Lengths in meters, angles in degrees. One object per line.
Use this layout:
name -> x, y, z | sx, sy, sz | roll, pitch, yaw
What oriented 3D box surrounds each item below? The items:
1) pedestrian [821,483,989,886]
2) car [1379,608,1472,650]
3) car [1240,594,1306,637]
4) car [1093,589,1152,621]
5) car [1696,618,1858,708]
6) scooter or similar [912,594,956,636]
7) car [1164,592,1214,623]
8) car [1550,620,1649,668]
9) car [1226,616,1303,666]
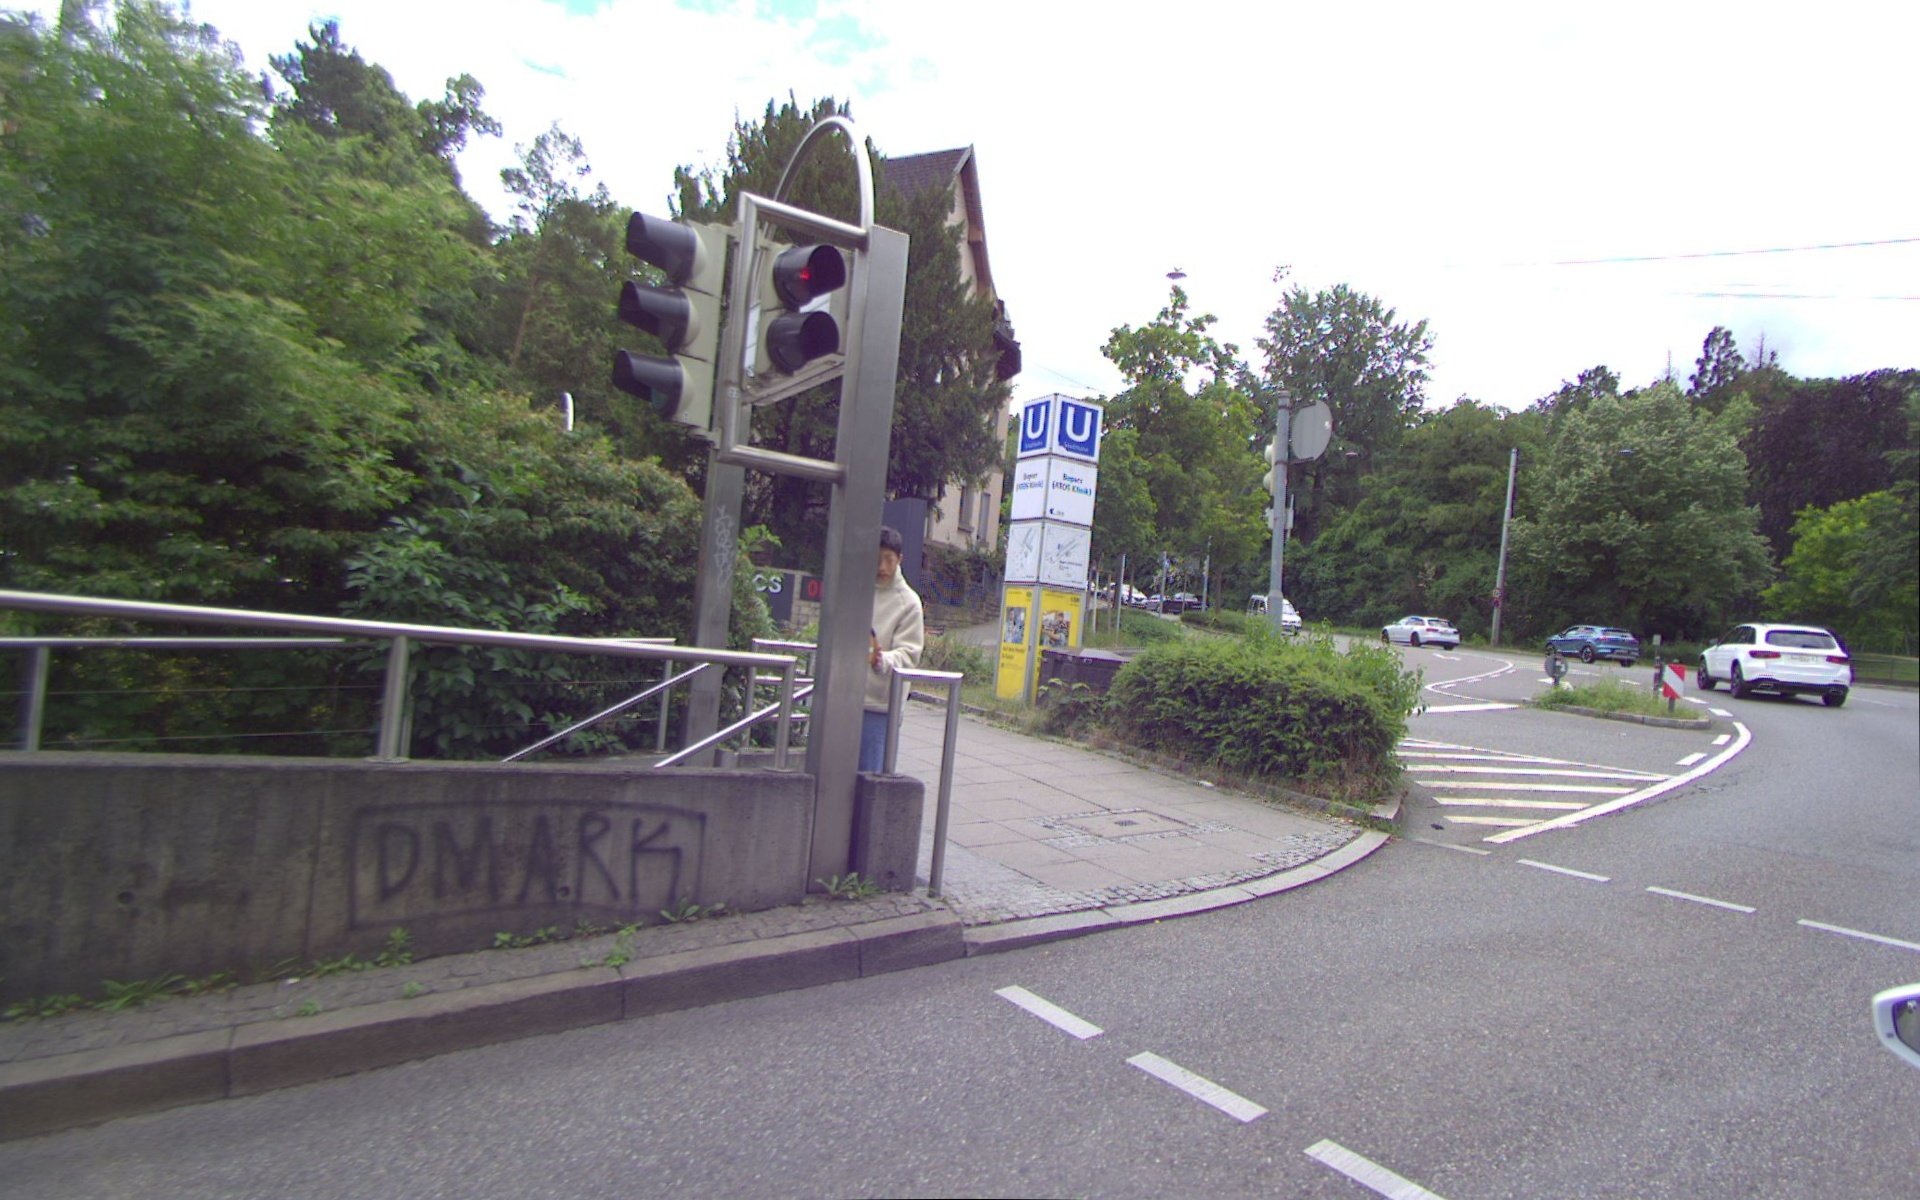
pedestrian -> -0.258, 0.393, 5.117 | 0.602, 1.886, 0.708 | 2, 0, 16
car -> 22.245, 1.363, 48.186 | 2.212, 1.539, 4.305 | 7, 1, -2
car -> 15.409, 0.719, 49.687 | 1.880, 1.855, 4.038 | 4, 1, -1
car -> 10.845, 0.305, 67.561 | 1.872, 1.815, 4.739 | 4, 1, -18
car -> 18.145, 1.311, 22.551 | 1.848, 1.674, 4.336 | 3, 1, 27
scooter or similar -> -0.761, 0.440, 29.388 | 1.198, 1.175, 0.546 | 0, 3, -39
car -> 16.439, 0.504, 72.205 | 1.965, 2.040, 3.991 | 3, 1, -11
car -> 26.522, 1.795, 41.817 | 1.829, 1.653, 3.961 | 4, 1, 7
car -> 12.611, 1.671, 41.890 | 1.864, 1.676, 4.376 | 4, 1, 1
